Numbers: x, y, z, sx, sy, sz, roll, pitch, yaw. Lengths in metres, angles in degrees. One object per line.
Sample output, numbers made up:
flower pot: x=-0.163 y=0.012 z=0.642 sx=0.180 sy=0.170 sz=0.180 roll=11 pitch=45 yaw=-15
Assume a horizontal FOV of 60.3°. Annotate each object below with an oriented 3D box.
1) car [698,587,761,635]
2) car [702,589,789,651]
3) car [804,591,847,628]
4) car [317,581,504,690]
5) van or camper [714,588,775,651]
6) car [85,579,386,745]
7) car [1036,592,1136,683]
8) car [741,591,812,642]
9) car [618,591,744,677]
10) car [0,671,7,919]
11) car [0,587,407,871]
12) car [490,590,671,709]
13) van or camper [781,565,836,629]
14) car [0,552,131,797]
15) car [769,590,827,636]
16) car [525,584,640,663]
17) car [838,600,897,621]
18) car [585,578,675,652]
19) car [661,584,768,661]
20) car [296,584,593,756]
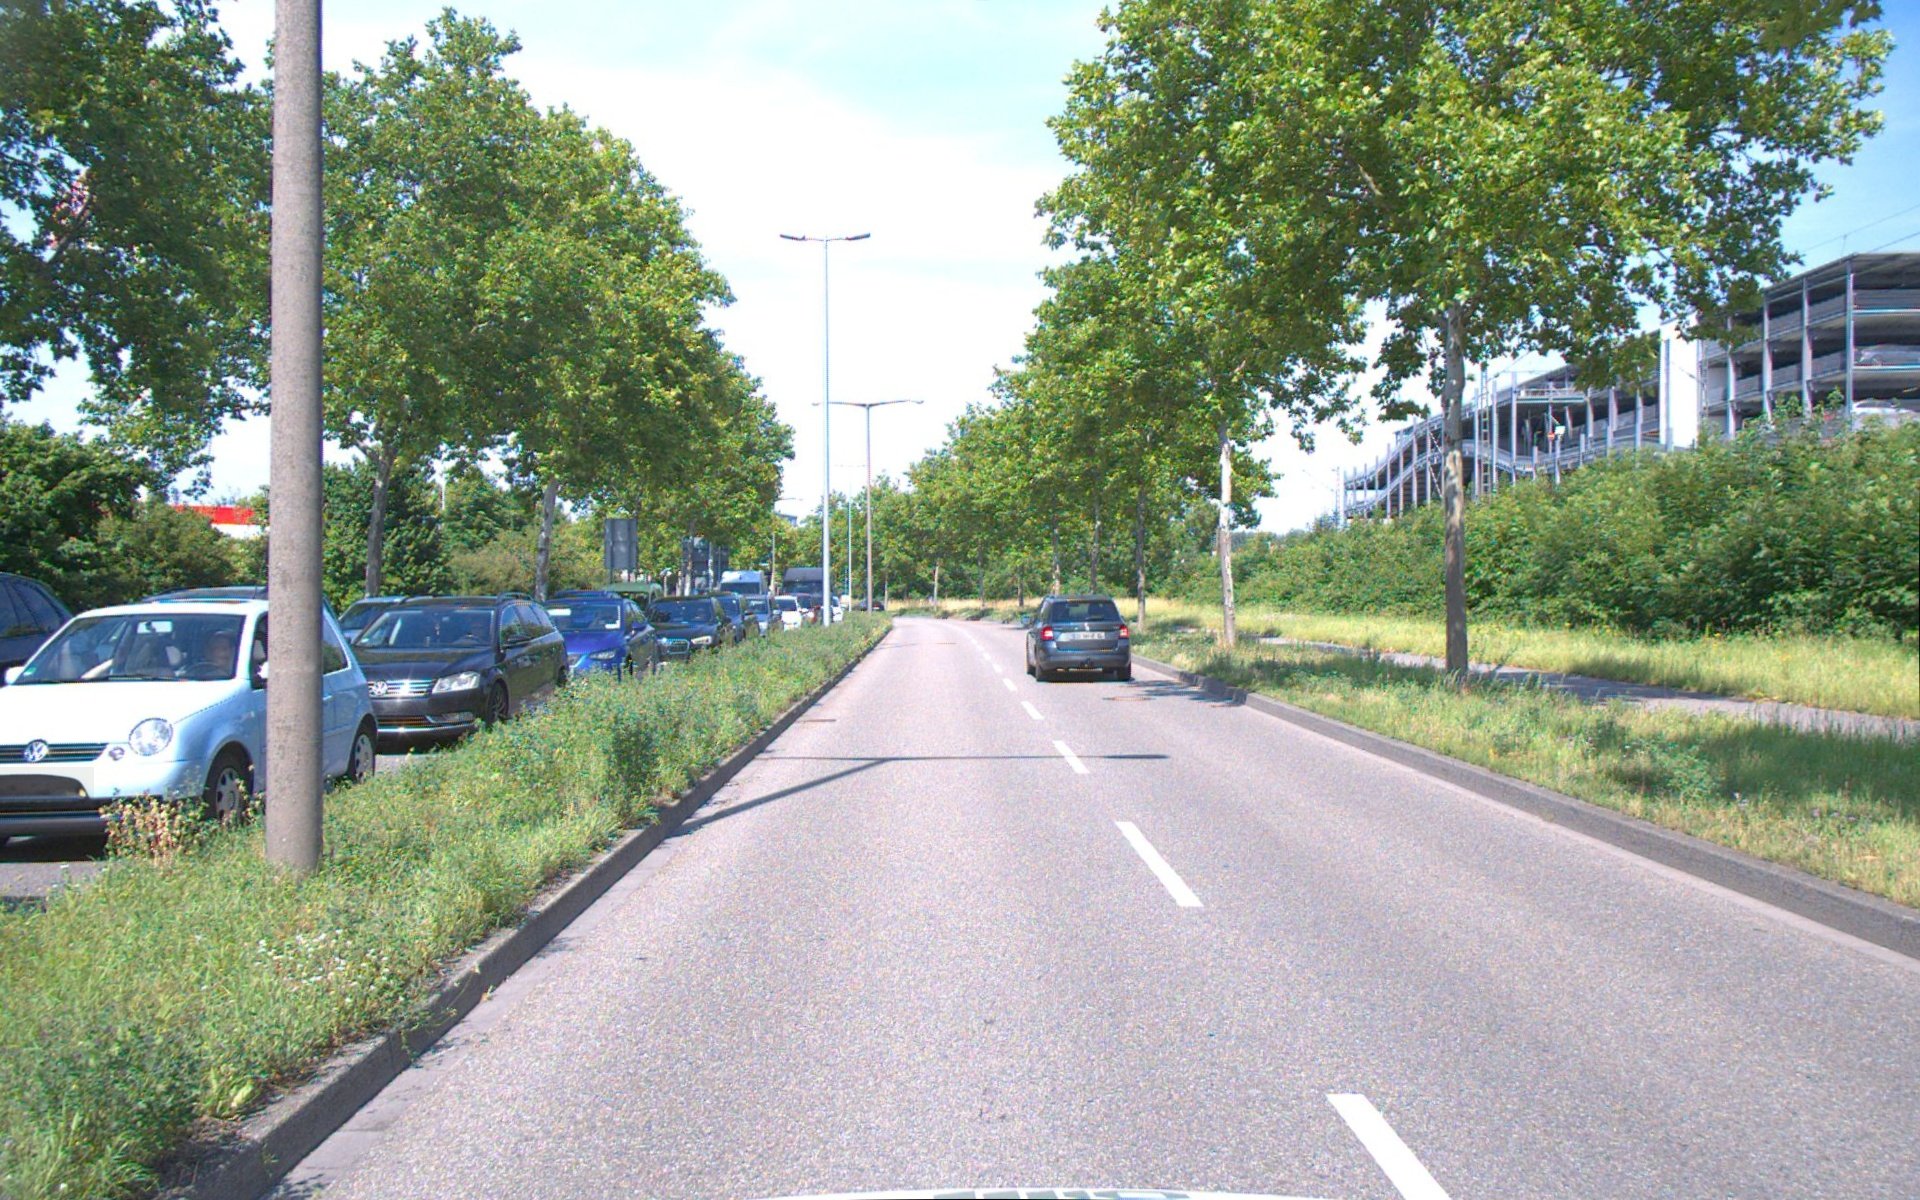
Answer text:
car: x=-8.976 y=0.419 z=64.602 sx=1.953 sy=1.786 sz=3.999 roll=-1 pitch=0 yaw=-1
car: x=-5.743 y=0.495 z=44.776 sx=1.776 sy=1.557 sz=4.641 roll=-1 pitch=0 yaw=-1
car: x=-5.979 y=0.430 z=73.934 sx=1.654 sy=1.557 sz=3.813 roll=-1 pitch=0 yaw=-1
car: x=-8.488 y=0.496 z=25.890 sx=1.654 sy=1.557 sz=3.938 roll=-1 pitch=0 yaw=-1
van or camper: x=-9.313 y=0.800 z=71.911 sx=1.974 sy=2.633 sz=5.516 roll=-1 pitch=0 yaw=-1
car: x=-8.148 y=0.621 z=19.037 sx=1.654 sy=1.675 sz=4.177 roll=-1 pitch=0 yaw=-1
car: x=2.214 y=0.609 z=29.414 sx=1.639 sy=1.479 sz=4.038 roll=-1 pitch=0 yaw=4
car: x=-5.587 y=0.480 z=50.850 sx=1.747 sy=1.484 sz=4.471 roll=-1 pitch=0 yaw=-1
car: x=-5.260 y=0.590 z=31.713 sx=1.787 sy=1.491 sz=4.448 roll=-1 pitch=0 yaw=-2
car: x=-4.961 y=0.668 z=5.067 sx=1.654 sy=1.499 sz=4.217 roll=-2 pitch=0 yaw=-1
car: x=-5.033 y=0.677 z=10.719 sx=1.654 sy=1.497 sz=3.814 roll=-1 pitch=0 yaw=-1
car: x=-5.328 y=0.635 z=23.764 sx=1.748 sy=1.515 sz=4.209 roll=-1 pitch=0 yaw=-2
van or camper: x=-6.030 y=-0.096 z=66.427 sx=1.899 sy=2.410 sz=5.395 roll=-1 pitch=0 yaw=-3
car: x=-7.813 y=0.545 z=11.572 sx=1.785 sy=1.767 sz=4.766 roll=-1 pitch=0 yaw=-3
car: x=-5.580 y=0.426 z=57.276 sx=1.654 sy=1.537 sz=3.814 roll=-1 pitch=0 yaw=-1
car: x=-8.473 y=0.494 z=37.489 sx=1.654 sy=1.660 sz=4.310 roll=-1 pitch=0 yaw=-1
car: x=-7.382 y=0.833 z=131.878 sx=4.533 sy=1.488 sz=1.906 roll=2 pitch=2 yaw=38
car: x=-8.813 y=0.392 z=44.454 sx=1.654 sy=1.891 sz=4.035 roll=-1 pitch=0 yaw=-1
car: x=-5.644 y=0.473 z=38.564 sx=1.809 sy=1.635 sz=5.007 roll=-1 pitch=0 yaw=-1
car: x=-5.312 y=0.628 z=17.755 sx=1.722 sy=1.556 sz=4.827 roll=-1 pitch=0 yaw=-1
